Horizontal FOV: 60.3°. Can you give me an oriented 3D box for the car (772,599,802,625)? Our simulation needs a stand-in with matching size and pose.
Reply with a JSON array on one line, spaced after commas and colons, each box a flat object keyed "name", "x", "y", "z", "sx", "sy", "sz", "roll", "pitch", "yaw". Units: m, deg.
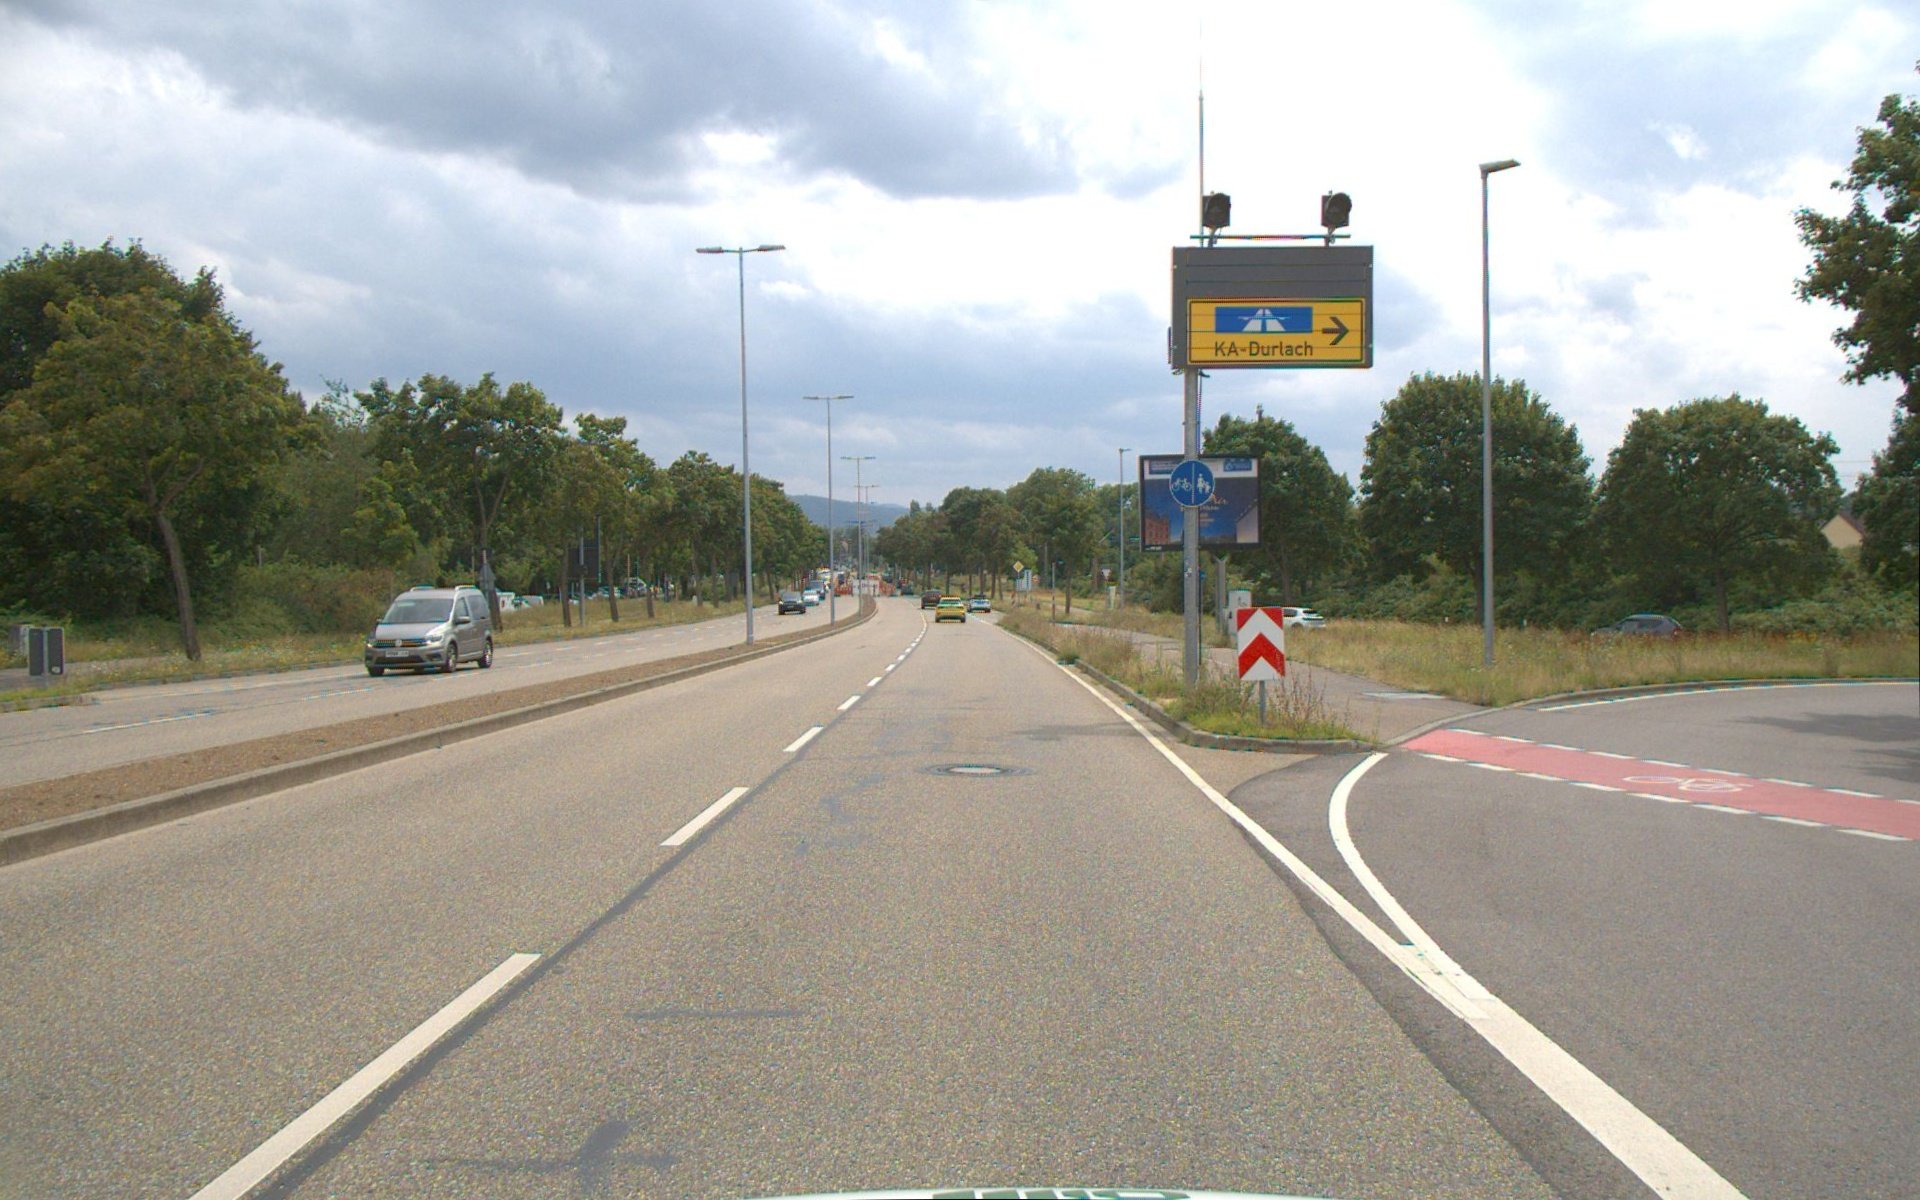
[{"name": "car", "x": -13.703, "y": 0.915, "z": 131.490, "sx": 1.953, "sy": 1.843, "sz": 4.796, "roll": -1, "pitch": 1, "yaw": -2}]

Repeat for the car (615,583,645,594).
[{"name": "car", "x": -45.497, "y": -1.543, "z": 228.004, "sx": 3.696, "sy": 1.450, "sz": 1.966, "roll": 0, "pitch": 1, "yaw": -1}]

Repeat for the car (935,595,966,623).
[{"name": "car", "x": -0.587, "y": 0.514, "z": 97.650, "sx": 1.757, "sy": 1.589, "sz": 3.999, "roll": 0, "pitch": 1, "yaw": -2}]

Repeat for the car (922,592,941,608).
[{"name": "car", "x": -2.502, "y": 0.023, "z": 144.569, "sx": 1.633, "sy": 1.292, "sz": 3.999, "roll": 0, "pitch": 1, "yaw": -2}]

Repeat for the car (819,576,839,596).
[{"name": "car", "x": -15.313, "y": -1.663, "z": 193.612, "sx": 2.053, "sy": 2.239, "sz": 6.001, "roll": -2, "pitch": 1, "yaw": -2}]

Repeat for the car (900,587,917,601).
[{"name": "car", "x": -6.881, "y": -0.784, "z": 219.965, "sx": 2.161, "sy": 1.713, "sz": 4.000, "roll": 0, "pitch": 1, "yaw": -1}]

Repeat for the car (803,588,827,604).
[{"name": "car", "x": -14.564, "y": -0.396, "z": 165.900, "sx": 1.953, "sy": 1.455, "sz": 4.688, "roll": -2, "pitch": 1, "yaw": 0}]

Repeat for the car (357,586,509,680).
[{"name": "car", "x": -11.347, "y": 0.645, "z": 35.930, "sx": 1.864, "sy": 1.841, "sz": 4.539, "roll": 0, "pitch": 1, "yaw": 0}]

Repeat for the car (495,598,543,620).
[{"name": "car", "x": -39.983, "y": 0.799, "z": 150.084, "sx": 3.907, "sy": 1.920, "sz": 1.938, "roll": 0, "pitch": 1, "yaw": -3}]

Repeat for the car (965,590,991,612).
[{"name": "car", "x": 1.457, "y": 0.048, "z": 134.767, "sx": 1.973, "sy": 1.699, "sz": 3.999, "roll": 0, "pitch": 1, "yaw": -2}]

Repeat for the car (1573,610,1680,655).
[{"name": "car", "x": 27.280, "y": 1.320, "z": 67.713, "sx": 3.910, "sy": 1.697, "sz": 1.707, "roll": 1, "pitch": 1, "yaw": 28}]

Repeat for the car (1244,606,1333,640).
[{"name": "car", "x": 15.928, "y": 1.099, "z": 80.278, "sx": 3.927, "sy": 1.489, "sz": 1.763, "roll": 1, "pitch": 2, "yaw": 41}]

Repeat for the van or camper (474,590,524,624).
[{"name": "van or camper", "x": -37.986, "y": 0.546, "z": 136.557, "sx": 2.422, "sy": 2.585, "sz": 6.718, "roll": 0, "pitch": 1, "yaw": -2}]
